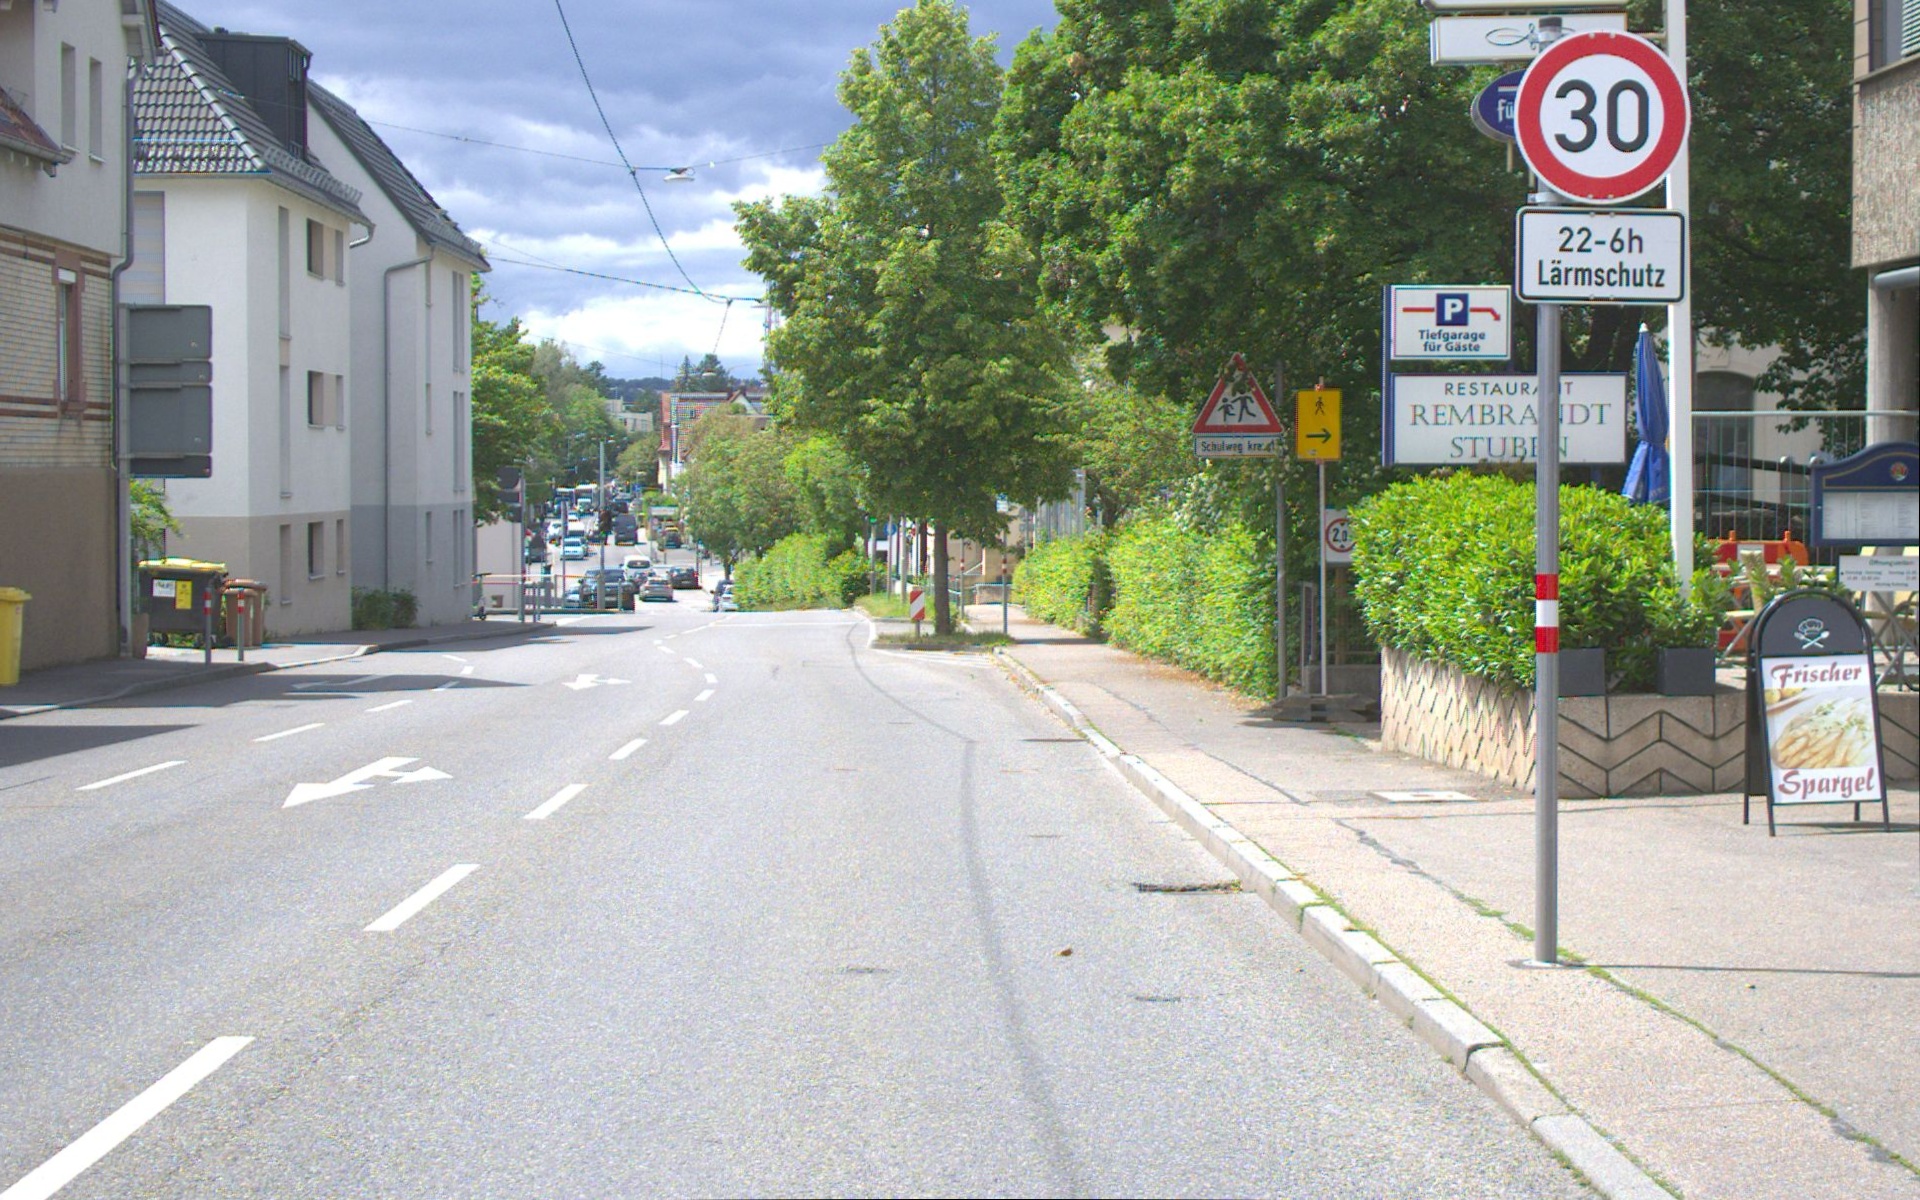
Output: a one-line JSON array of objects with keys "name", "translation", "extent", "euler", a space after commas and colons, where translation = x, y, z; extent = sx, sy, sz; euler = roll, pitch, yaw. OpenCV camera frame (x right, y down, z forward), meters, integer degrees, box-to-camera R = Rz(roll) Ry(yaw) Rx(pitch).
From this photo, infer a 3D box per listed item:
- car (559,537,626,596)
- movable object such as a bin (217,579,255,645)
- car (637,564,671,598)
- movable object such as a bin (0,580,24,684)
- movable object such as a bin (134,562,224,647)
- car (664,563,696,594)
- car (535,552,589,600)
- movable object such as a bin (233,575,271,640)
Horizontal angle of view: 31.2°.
[{"name": "car", "translation": [-12.853, -1.168, 120.001], "extent": [1.993, 2.007, 4.001], "euler": [0, 1, -11]}, {"name": "movable object such as a bin", "translation": [-11.463, 0.191, 54.439], "extent": [0.531, 1.026, 0.455], "euler": [0, 1, -3]}, {"name": "car", "translation": [-18.443, -1.124, 207.153], "extent": [1.993, 2.007, 4.001], "euler": [0, 0, -6]}, {"name": "movable object such as a bin", "translation": [-10.429, 0.345, 37.355], "extent": [0.431, 1.124, 0.299], "euler": [-1, 1, -3]}, {"name": "movable object such as a bin", "translation": [-12.122, 0.068, 53.362], "extent": [1.281, 1.305, 0.816], "euler": [0, 1, -7]}, {"name": "car", "translation": [-18.197, -1.400, 223.016], "extent": [1.993, 2.007, 4.001], "euler": [0, 0, -6]}, {"name": "car", "translation": [-16.853, -1.019, 145.472], "extent": [1.993, 2.007, 4.001], "euler": [0, 1, -11]}, {"name": "movable object such as a bin", "translation": [-11.355, 0.115, 55.144], "extent": [0.531, 1.026, 0.455], "euler": [0, 1, -3]}]
